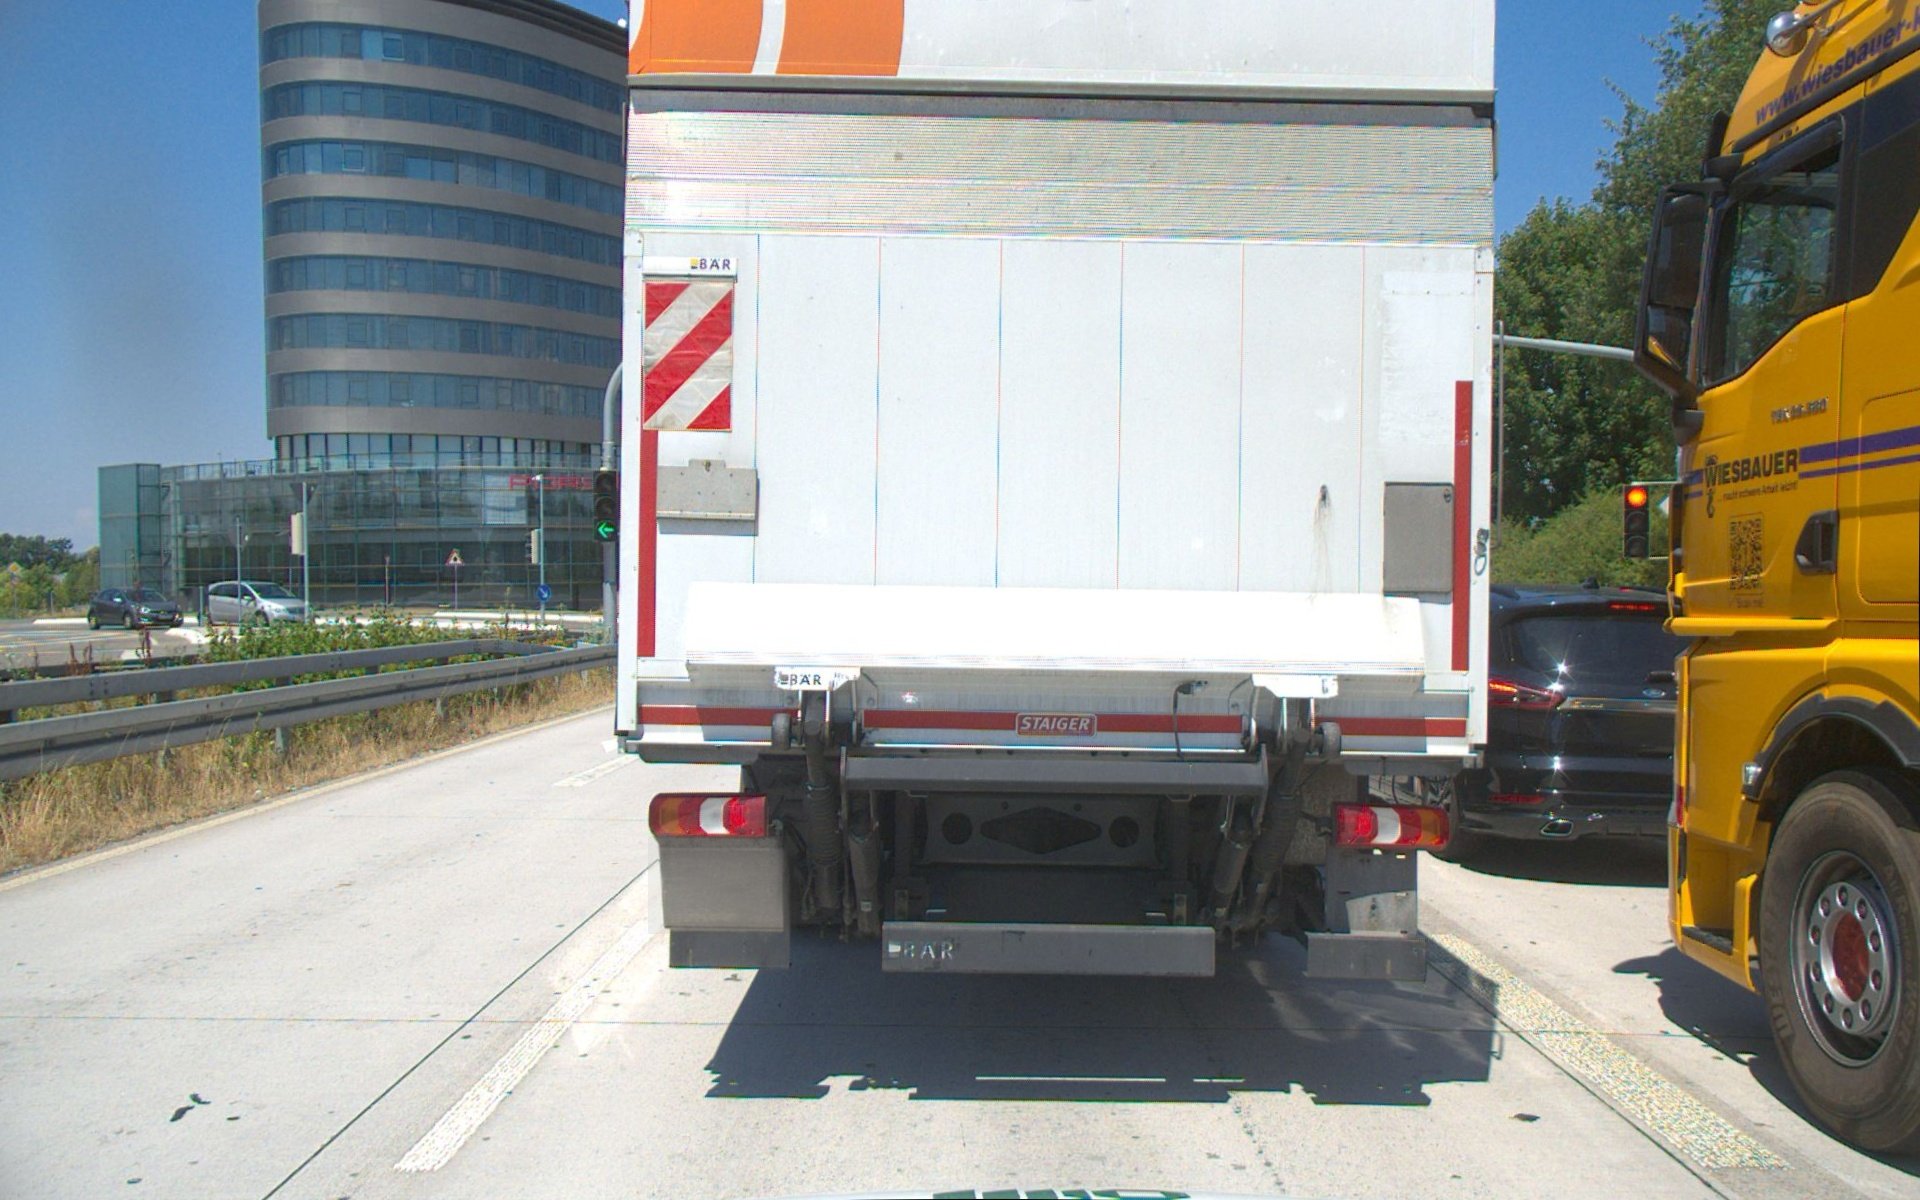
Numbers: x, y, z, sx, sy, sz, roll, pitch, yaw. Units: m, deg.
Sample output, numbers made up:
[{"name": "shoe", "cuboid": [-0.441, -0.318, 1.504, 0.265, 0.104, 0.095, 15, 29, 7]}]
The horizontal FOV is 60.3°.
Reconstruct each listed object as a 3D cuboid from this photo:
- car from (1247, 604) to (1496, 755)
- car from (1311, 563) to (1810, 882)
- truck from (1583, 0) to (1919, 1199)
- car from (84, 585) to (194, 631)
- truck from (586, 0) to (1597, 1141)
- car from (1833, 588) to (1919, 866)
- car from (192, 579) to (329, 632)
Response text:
[{"name": "car", "cuboid": [4.383, 0.781, 18.319, 1.731, 1.435, 4.611, 1, 0, 2]}, {"name": "car", "cuboid": [3.693, 0.662, 11.140, 1.747, 1.668, 4.648, 1, 0, 1]}, {"name": "truck", "cuboid": [3.946, -0.394, 2.477, 2.953, 3.838, 7.466, 1, 0, -2]}, {"name": "car", "cuboid": [-28.789, 0.307, 57.969, 4.241, 1.482, 1.691, -2, -2, 35]}, {"name": "truck", "cuboid": [0.310, -0.490, 9.192, 2.713, 3.927, 9.368, 1, 0, -1]}, {"name": "car", "cuboid": [7.327, 0.852, 9.596, 1.733, 1.839, 4.788, 1, 0, -4]}, {"name": "car", "cuboid": [-22.663, 0.202, 53.582, 4.231, 1.623, 1.775, -1, -2, 27]}]
